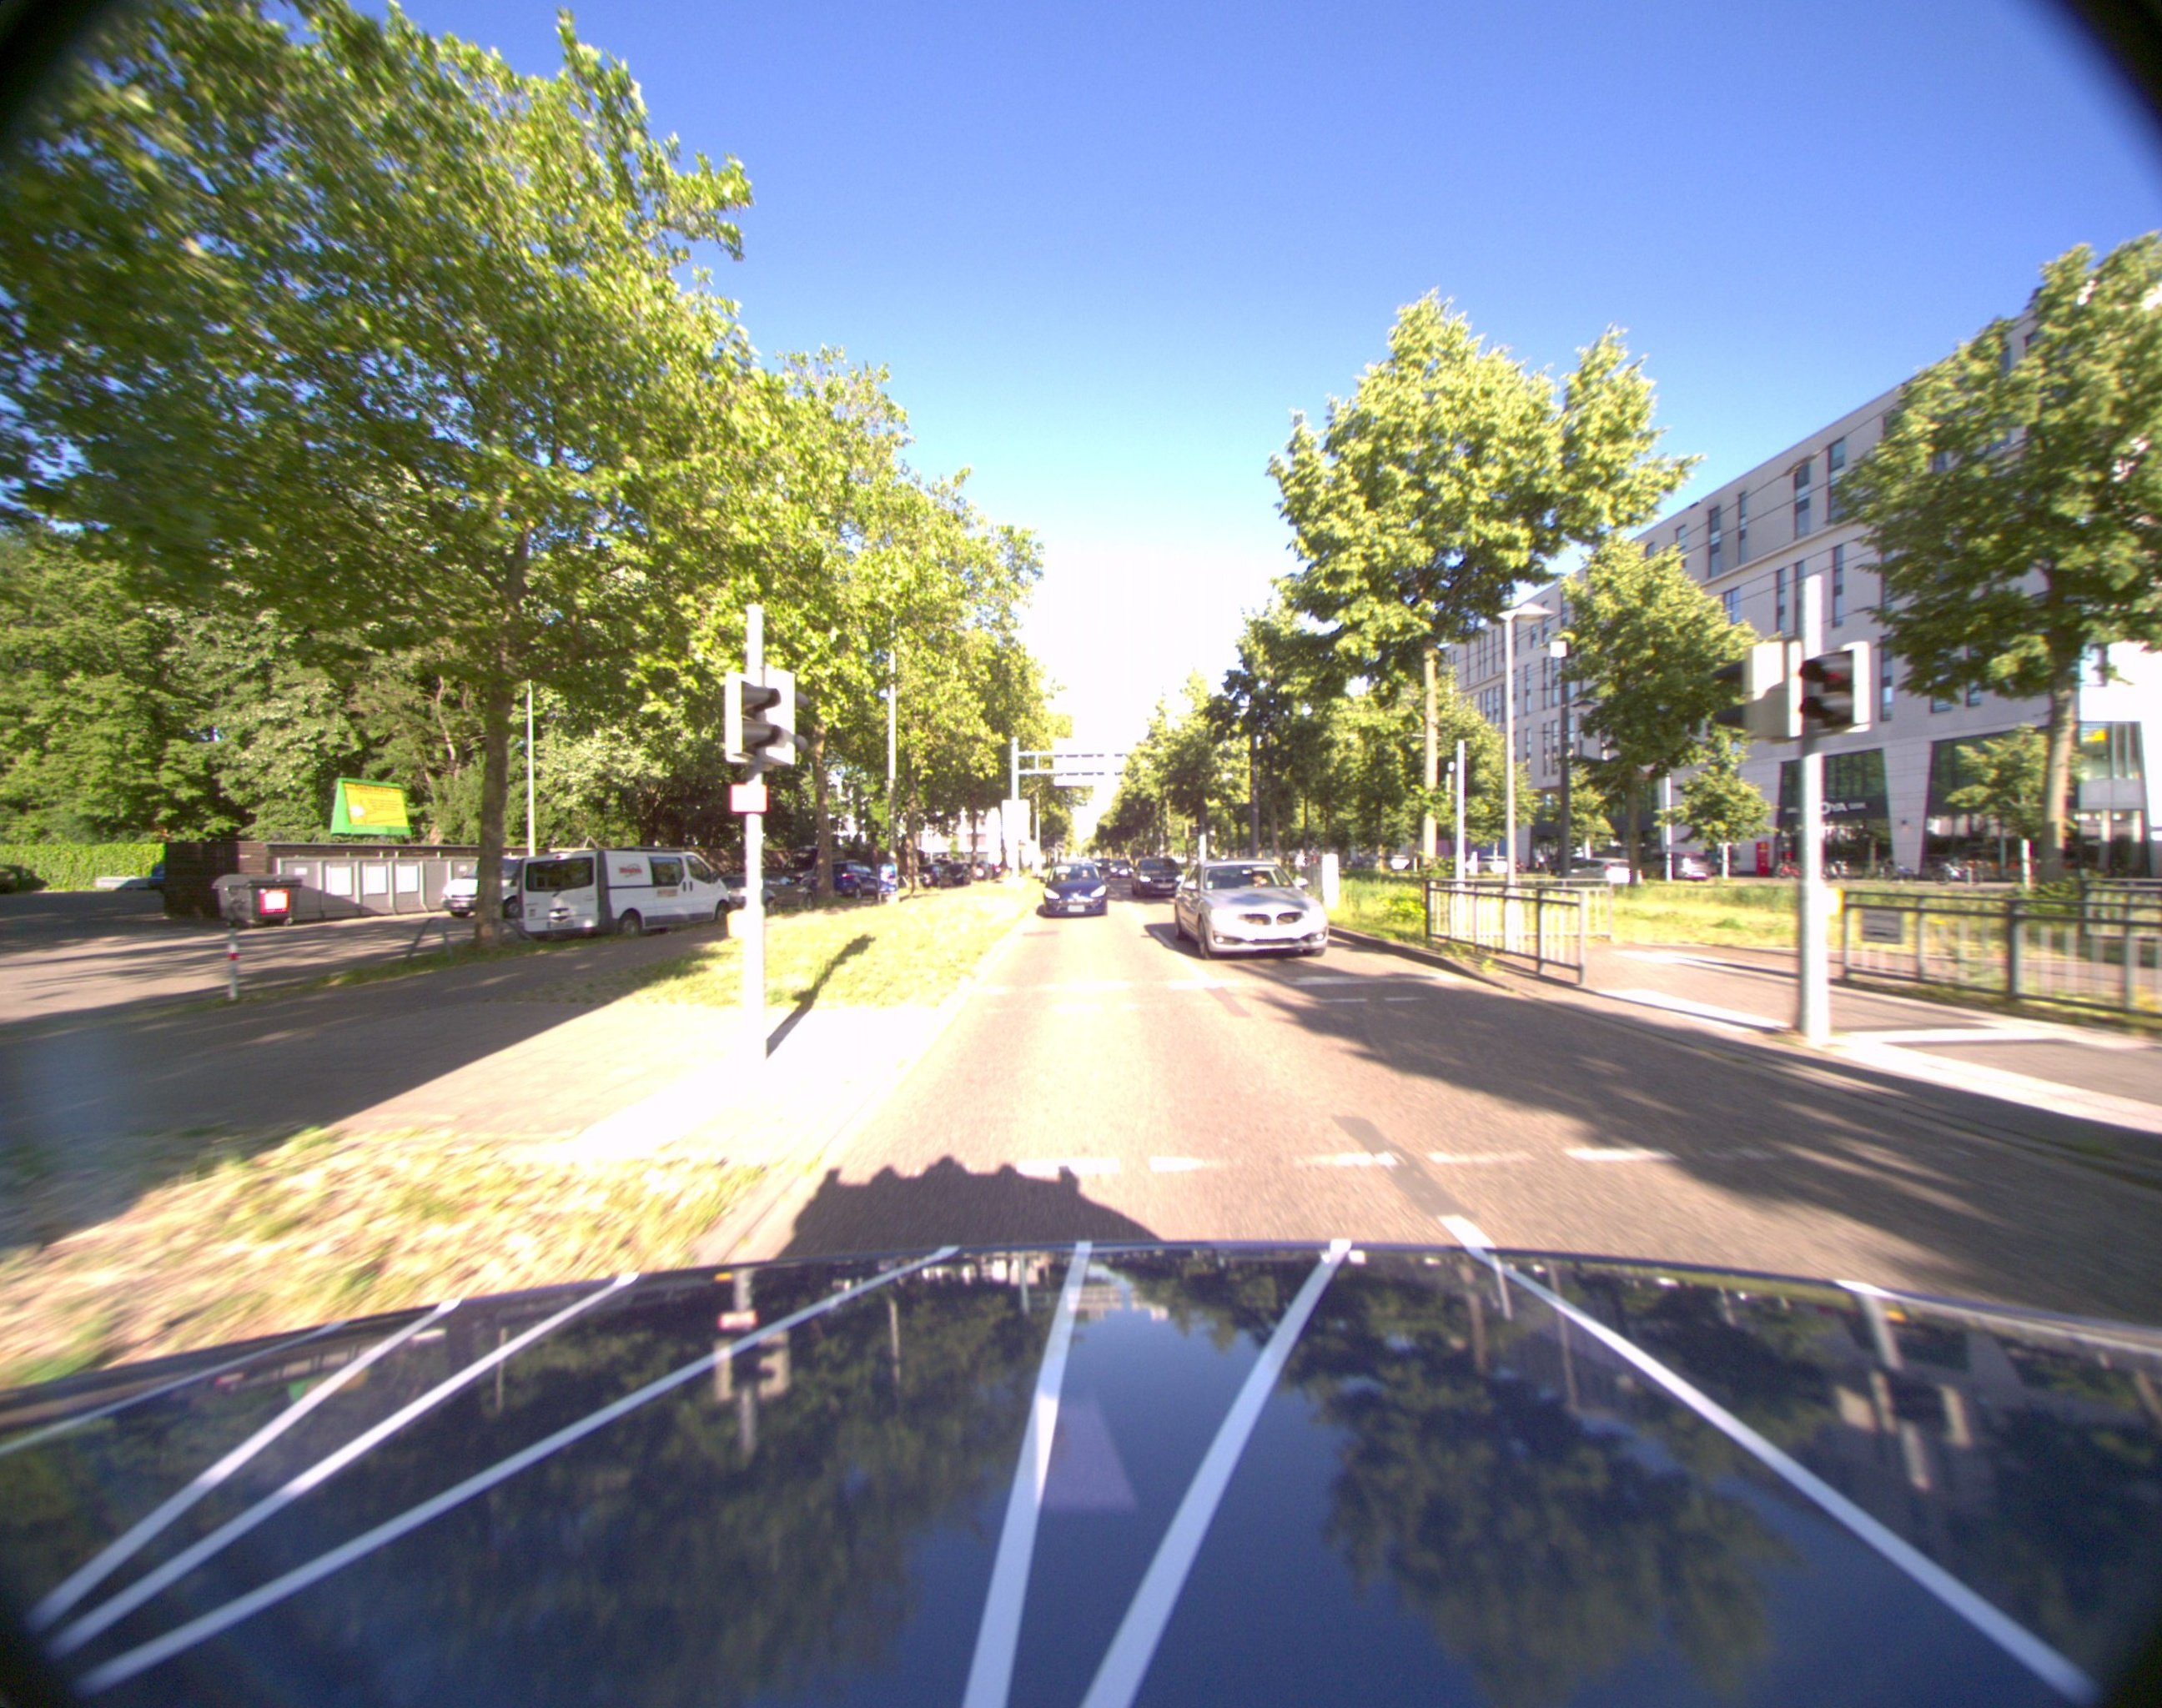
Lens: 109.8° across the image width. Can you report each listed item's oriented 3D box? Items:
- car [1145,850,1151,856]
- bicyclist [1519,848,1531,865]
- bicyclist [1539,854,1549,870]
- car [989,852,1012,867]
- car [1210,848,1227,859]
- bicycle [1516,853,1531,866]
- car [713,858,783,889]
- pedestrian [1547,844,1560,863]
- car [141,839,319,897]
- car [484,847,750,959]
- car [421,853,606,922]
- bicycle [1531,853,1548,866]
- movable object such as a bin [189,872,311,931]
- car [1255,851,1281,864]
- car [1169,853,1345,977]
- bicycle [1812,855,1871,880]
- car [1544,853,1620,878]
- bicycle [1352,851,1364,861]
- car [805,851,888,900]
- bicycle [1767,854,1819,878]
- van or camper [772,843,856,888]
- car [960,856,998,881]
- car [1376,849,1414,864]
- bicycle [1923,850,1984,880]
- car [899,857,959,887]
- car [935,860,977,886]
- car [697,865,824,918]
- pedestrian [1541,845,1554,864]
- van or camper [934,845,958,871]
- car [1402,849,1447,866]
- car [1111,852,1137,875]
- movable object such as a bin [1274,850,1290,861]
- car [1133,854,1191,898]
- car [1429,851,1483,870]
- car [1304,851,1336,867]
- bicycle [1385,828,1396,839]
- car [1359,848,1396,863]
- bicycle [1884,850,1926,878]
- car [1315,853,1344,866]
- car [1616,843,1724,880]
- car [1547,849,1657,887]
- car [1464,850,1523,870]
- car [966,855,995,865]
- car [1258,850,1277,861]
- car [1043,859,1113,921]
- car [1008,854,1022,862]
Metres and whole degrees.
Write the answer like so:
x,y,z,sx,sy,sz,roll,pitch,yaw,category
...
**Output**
x,y,z,sx,sy,sz,roll,pitch,yaw,category
23.143,-0.474,263.692,1.998,2.002,4.000,-3,1,3,car
36.034,0.205,61.654,0.431,1.411,0.956,-3,1,2,bicyclist
37.191,0.648,61.057,0.368,1.296,0.719,-3,1,2,bicyclist
-9.474,0.677,88.881,2.001,1.630,3.995,-3,1,-15,car
21.098,-0.095,116.699,1.998,1.433,4.456,-3,1,3,car
36.053,0.404,61.924,0.431,1.011,1.484,-3,1,2,bicycle
-17.264,0.959,39.603,1.693,1.463,3.759,1,1,6,car
42.100,-0.020,67.703,0.637,1.641,0.719,-3,1,-7,pedestrian
-32.128,0.470,28.900,1.998,2.002,4.001,-2,1,6,car
-9.990,0.896,17.183,2.195,2.002,5.820,-3,1,2,car
-18.658,1.026,25.362,2.091,2.002,4.944,-1,0,5,car
37.211,0.422,61.696,0.380,1.011,1.800,-3,1,2,bicycle
-22.311,1.254,20.456,1.648,1.461,1.486,1,1,-1,movable object such as a bin
22.685,0.414,92.239,1.998,1.519,4.318,-3,1,0,car
2.649,0.831,12.524,1.886,1.569,4.277,-3,1,0,car
38.923,0.664,38.914,0.735,1.191,2.240,-3,1,0,bicycle
31.648,0.696,48.164,1.963,1.433,4.265,-3,1,1,car
38.462,0.255,105.487,0.949,1.273,2.772,-2,1,8,bicycle
-9.130,0.779,29.996,1.741,1.632,4.352,-3,1,2,car
38.976,0.630,41.642,0.735,1.191,2.240,-3,1,0,bicycle
-16.912,0.677,48.604,2.562,2.668,6.567,1,0,5,van or camper
-7.203,0.982,53.952,1.797,1.551,4.020,-4,1,4,car
31.619,0.224,76.614,1.998,1.433,4.455,-3,1,0,car
38.895,0.464,33.883,0.589,1.245,1.839,-3,1,0,bicycle
-8.273,0.939,41.882,1.998,1.373,4.678,-3,0,4,car
-7.729,1.146,47.376,1.797,1.429,3.884,-3,1,2,car
-9.634,1.081,23.242,1.998,1.282,4.052,-3,1,2,car
41.287,0.022,67.265,0.637,1.641,0.720,-3,1,-2,pedestrian
-14.949,0.404,84.305,1.999,2.715,4.962,2,1,-3,van or camper
31.899,0.283,70.729,1.999,1.433,4.454,-3,1,-2,car
3.272,0.683,58.415,1.782,1.571,3.783,-3,1,1,car
31.775,0.229,120.191,1.975,1.784,1.555,-3,1,-1,movable object such as a bin
3.042,0.788,29.296,1.950,1.514,4.000,-1,1,2,car
31.709,0.484,64.413,1.999,1.433,4.935,-3,1,-2,car
23.422,0.479,74.597,1.998,1.562,4.167,-1,0,3,car
38.887,-2.559,95.496,0.599,1.273,1.608,-3,1,-2,bicycle
31.856,0.119,81.778,1.999,1.433,4.777,-3,1,-2,car
38.931,0.457,35.934,0.588,1.245,1.842,-2,1,22,bicycle
32.021,0.696,98.085,1.999,1.433,4.924,-3,1,-2,car
31.766,0.363,41.166,1.999,1.761,4.775,-3,1,-2,car
22.858,0.557,33.523,1.999,1.477,3.999,-3,1,-2,car
32.045,0.439,59.150,1.999,1.433,4.454,-3,1,-2,car
-15.210,0.916,114.856,4.089,1.459,1.715,1,1,1,car
32.332,0.272,132.060,1.999,1.719,4.337,-3,1,-2,car
-0.030,0.963,21.806,1.766,1.462,4.000,-3,1,2,car
-12.928,0.722,149.318,1.998,1.477,4.402,2,1,3,car
